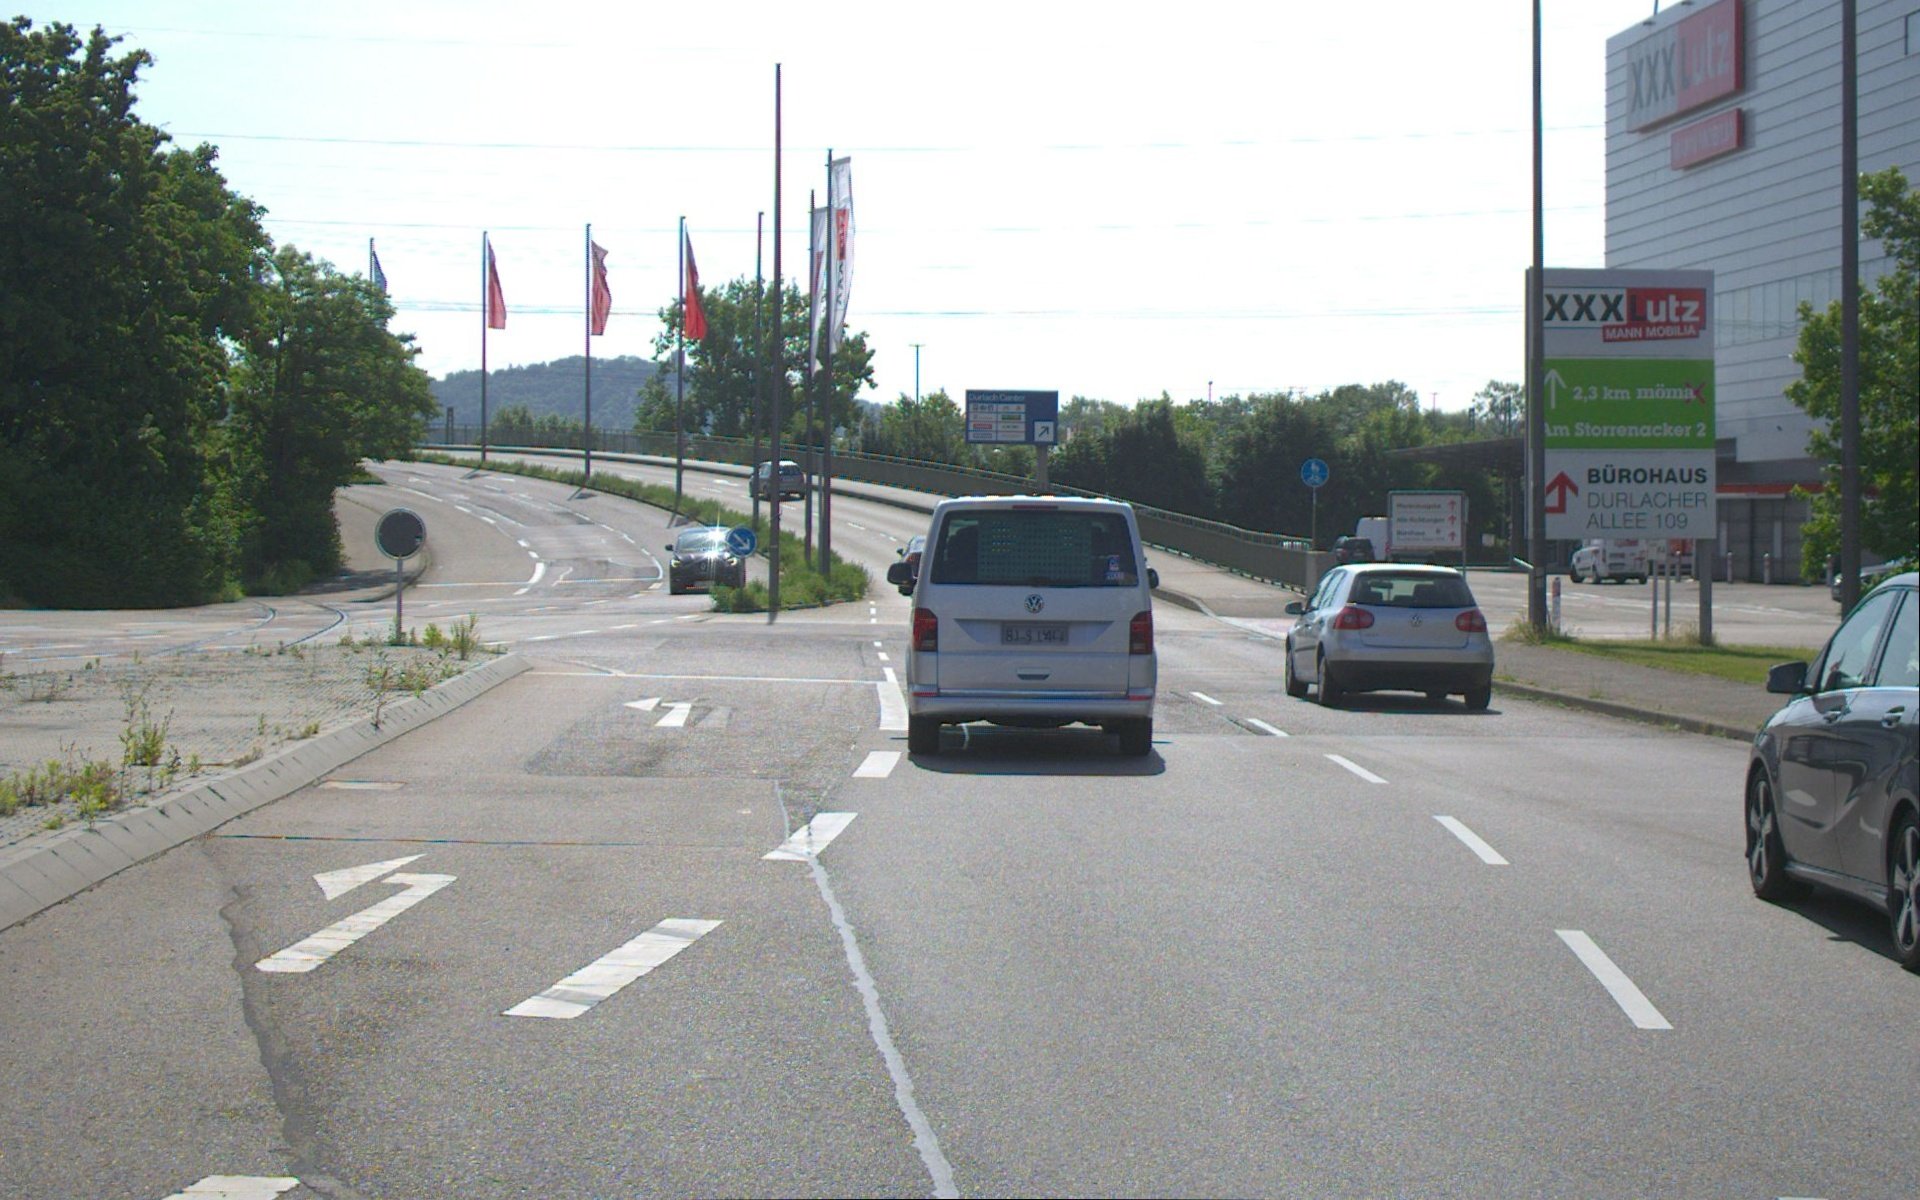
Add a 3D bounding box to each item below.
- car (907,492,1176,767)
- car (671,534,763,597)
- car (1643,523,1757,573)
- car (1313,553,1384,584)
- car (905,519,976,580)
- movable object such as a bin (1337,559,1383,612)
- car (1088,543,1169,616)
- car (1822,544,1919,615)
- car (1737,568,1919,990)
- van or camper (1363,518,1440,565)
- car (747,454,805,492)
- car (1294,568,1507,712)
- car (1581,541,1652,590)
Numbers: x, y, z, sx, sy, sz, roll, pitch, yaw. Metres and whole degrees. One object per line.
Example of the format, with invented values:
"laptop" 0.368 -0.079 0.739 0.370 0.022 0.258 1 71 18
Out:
"car" 0.576 0.173 27.013 1.917 1.968 4.297 1 1 0
"car" -6.344 -0.919 90.146 1.916 1.601 4.271 1 1 2
"car" 30.002 -2.115 139.435 4.187 1.922 1.777 1 1 -3
"car" 18.640 -1.514 164.983 1.993 1.415 4.001 3 0 -15
"car" -0.501 -1.292 87.276 1.530 1.475 3.248 2 1 -4
"movable object such as a bin" 8.506 -0.314 73.156 0.809 1.109 1.182 1 1 -1
"car" 3.703 -0.478 76.144 1.531 1.474 3.596 2 2 -1
"car" 23.483 -0.531 83.747 4.422 1.608 1.838 -2 2 -6
"car" 4.506 0.672 14.145 1.774 1.533 4.137 1 1 2
"van or camper" 22.836 -2.993 177.623 2.102 2.171 5.429 3 0 27
"car" -7.647 -5.248 142.540 1.530 1.475 3.426 1 1 -17
"car" 4.581 0.420 36.170 1.666 1.409 3.682 1 -1 -1
"car" 24.592 -1.307 128.909 1.672 1.745 4.094 1 2 -2
